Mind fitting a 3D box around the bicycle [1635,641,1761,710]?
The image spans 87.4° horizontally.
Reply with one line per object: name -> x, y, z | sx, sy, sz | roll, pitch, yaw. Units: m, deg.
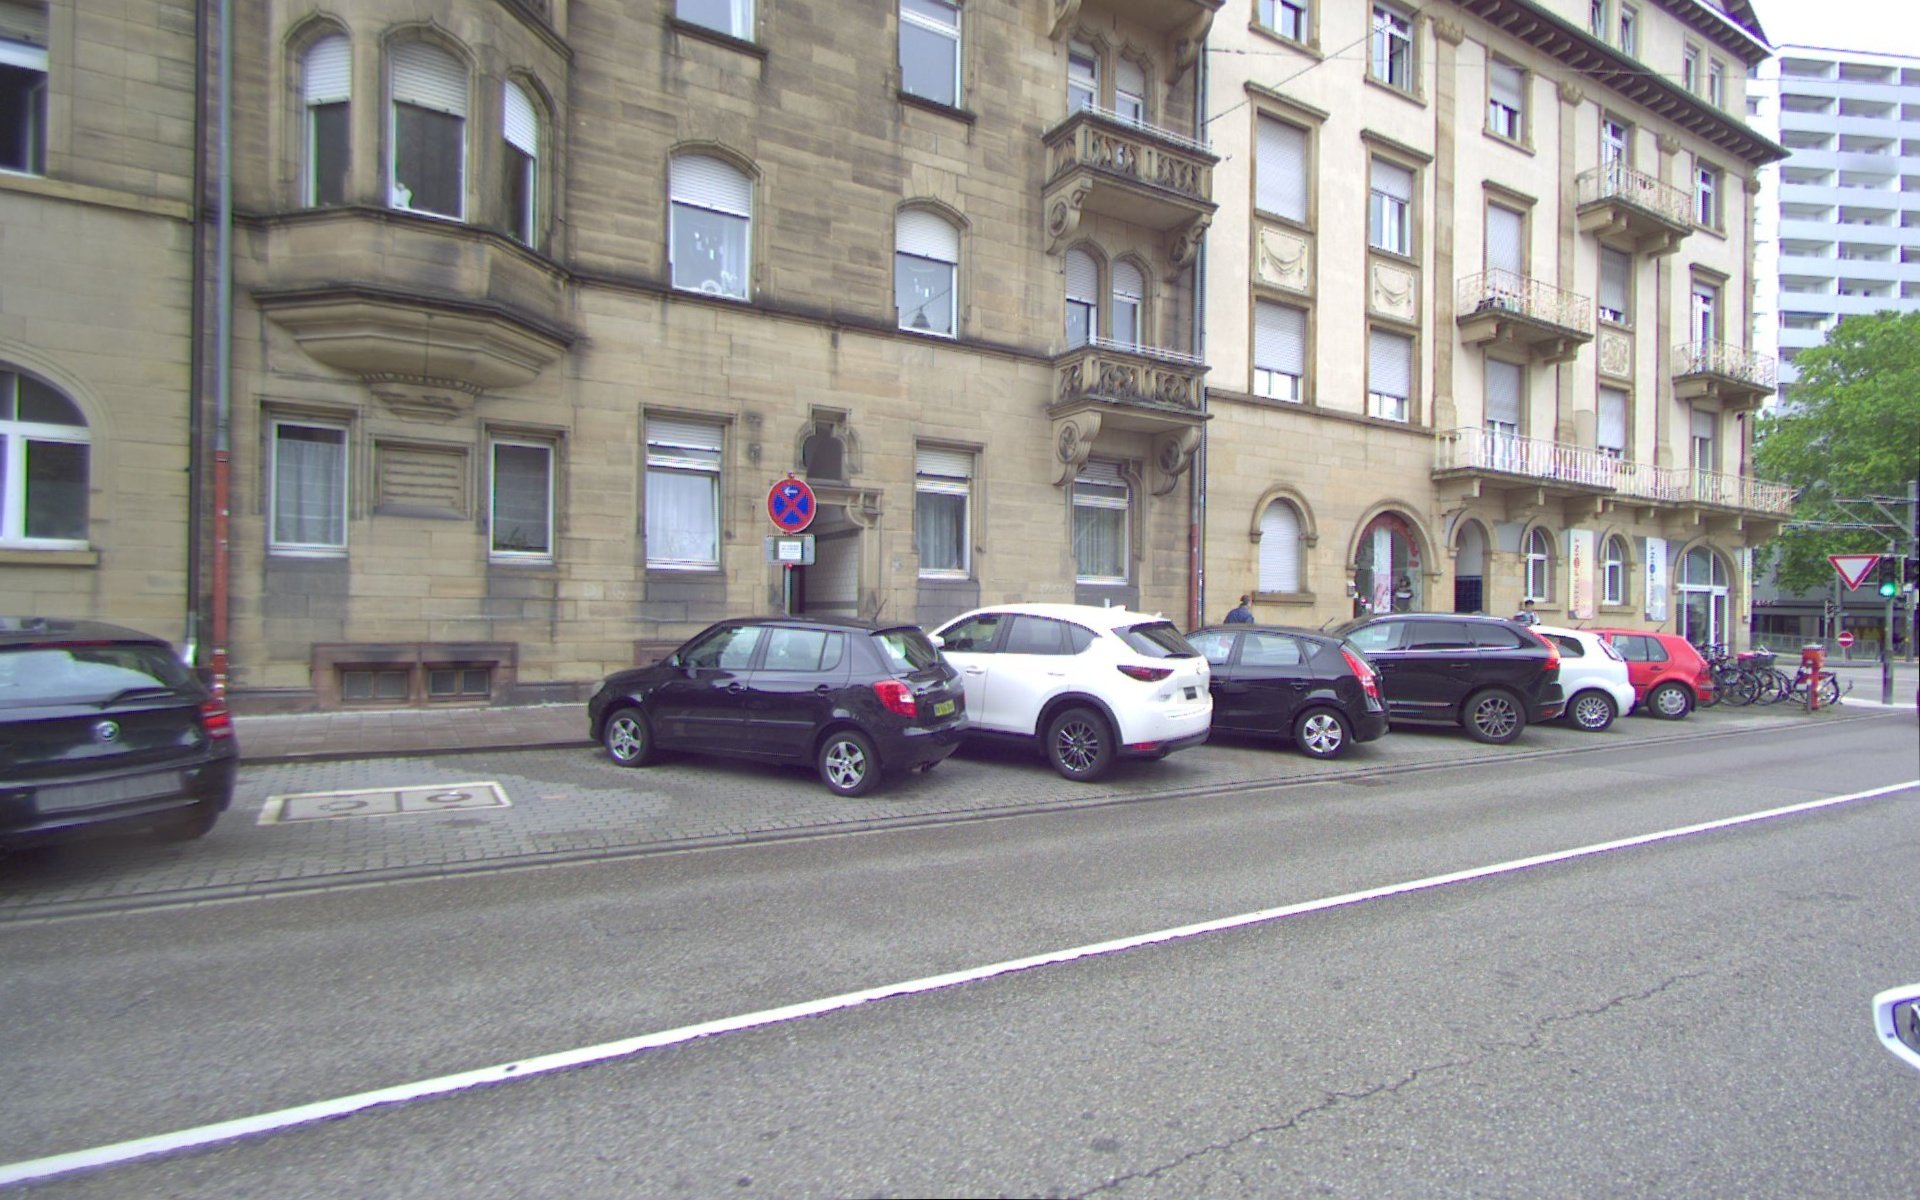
bicycle -> 14.273, 1.434, 19.477 | 0.437, 1.050, 1.876 | 1, 5, -31

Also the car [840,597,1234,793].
car -> 0.764, 0.883, 11.041 | 3.935, 1.746, 1.835 | 1, -1, 36

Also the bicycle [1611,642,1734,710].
bicycle -> 13.534, 1.417, 19.146 | 0.436, 1.050, 1.879 | 1, 3, -26

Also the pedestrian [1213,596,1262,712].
pedestrian -> 4.854, 0.938, 17.580 | 0.544, 1.984, 0.616 | 1, -1, -29

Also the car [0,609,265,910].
car -> -6.438, 0.804, 6.280 | 3.924, 1.436, 1.660 | 2, 0, 25

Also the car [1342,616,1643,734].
car -> 8.216, 1.108, 15.889 | 3.920, 1.492, 1.564 | 2, 2, 18

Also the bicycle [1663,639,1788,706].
bicycle -> 15.277, 1.421, 20.105 | 0.437, 1.050, 1.876 | 1, 5, -31

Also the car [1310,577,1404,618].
car -> 8.881, -0.044, 22.460 | 1.991, 0.845, 0.909 | 2, -1, -30

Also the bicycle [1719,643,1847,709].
bicycle -> 16.537, 1.495, 20.237 | 0.437, 1.050, 1.876 | 1, 5, -31

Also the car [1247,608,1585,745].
car -> 6.290, 1.001, 14.327 | 4.141, 1.673, 1.732 | 1, -1, 18

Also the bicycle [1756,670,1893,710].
bicycle -> 17.577, 1.813, 20.468 | 1.017, 0.451, 1.876 | 0, 5, -31

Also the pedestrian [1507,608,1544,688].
pedestrian -> 12.997, 1.097, 23.087 | 0.544, 1.809, 0.564 | 1, -1, -29

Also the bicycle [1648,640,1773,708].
bicycle -> 14.722, 1.428, 19.758 | 0.437, 1.050, 1.876 | 1, 5, -31

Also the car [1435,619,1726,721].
car -> 10.622, 1.158, 17.481 | 3.919, 1.492, 1.685 | 2, 1, 12

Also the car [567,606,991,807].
car -> -1.743, 0.895, 9.710 | 3.738, 1.517, 1.569 | 2, 0, 22

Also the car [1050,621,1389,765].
car -> 3.285, 1.067, 12.734 | 3.923, 1.514, 1.731 | 1, -1, 23

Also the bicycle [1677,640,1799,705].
bicycle -> 15.801, 1.453, 20.456 | 0.437, 1.050, 1.876 | 1, 5, -31

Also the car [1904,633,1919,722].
car -> 17.596, 1.302, 16.863 | 3.470, 1.466, 1.641 | 1, -1, -30
